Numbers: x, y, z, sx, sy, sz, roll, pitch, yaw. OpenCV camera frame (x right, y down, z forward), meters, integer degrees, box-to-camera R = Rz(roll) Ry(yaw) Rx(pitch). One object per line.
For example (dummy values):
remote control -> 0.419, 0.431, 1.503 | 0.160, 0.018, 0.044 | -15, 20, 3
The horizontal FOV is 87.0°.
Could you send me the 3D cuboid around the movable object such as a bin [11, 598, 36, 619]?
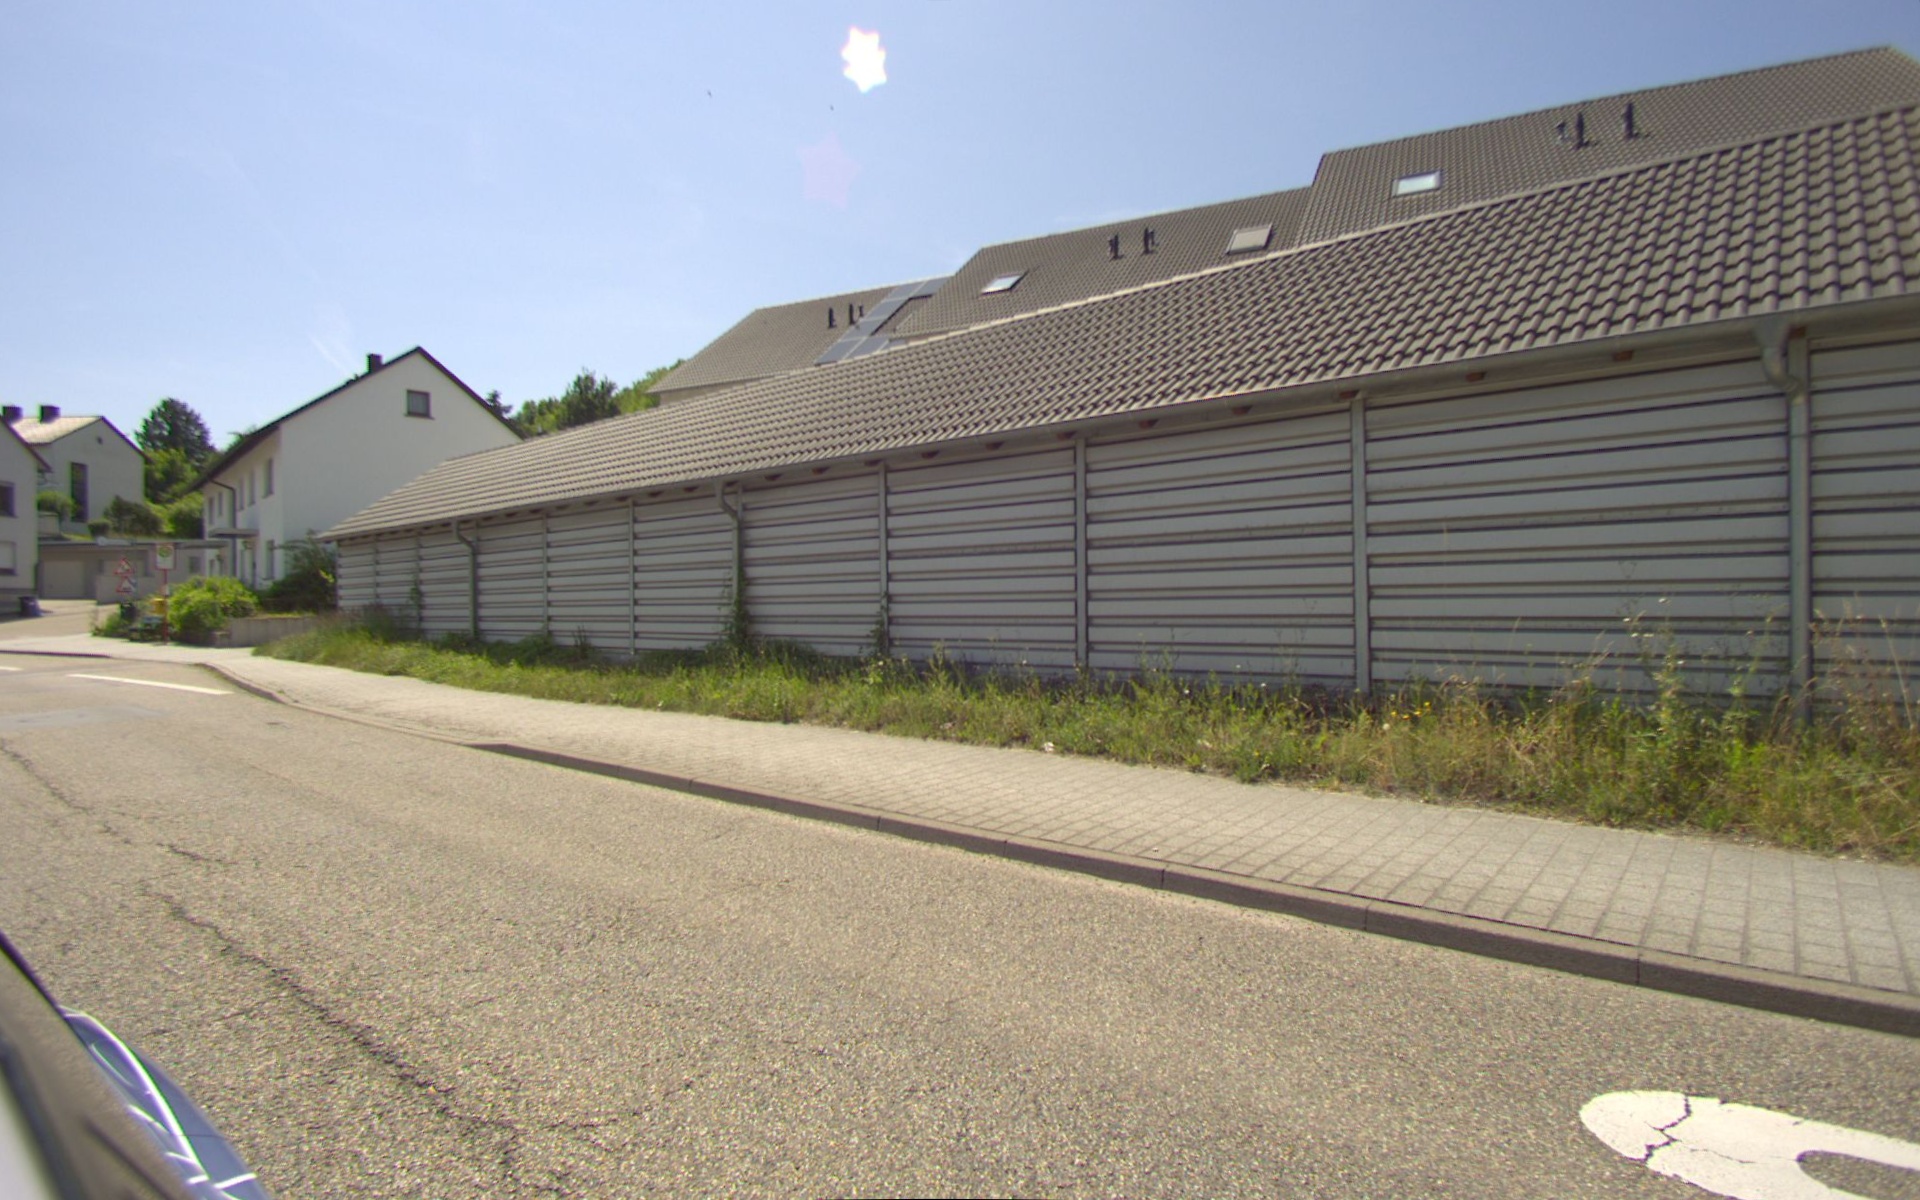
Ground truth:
movable object such as a bin -> -42.803, 0.384, 46.259 | 0.591, 0.941, 0.601 | 0, 0, -6
